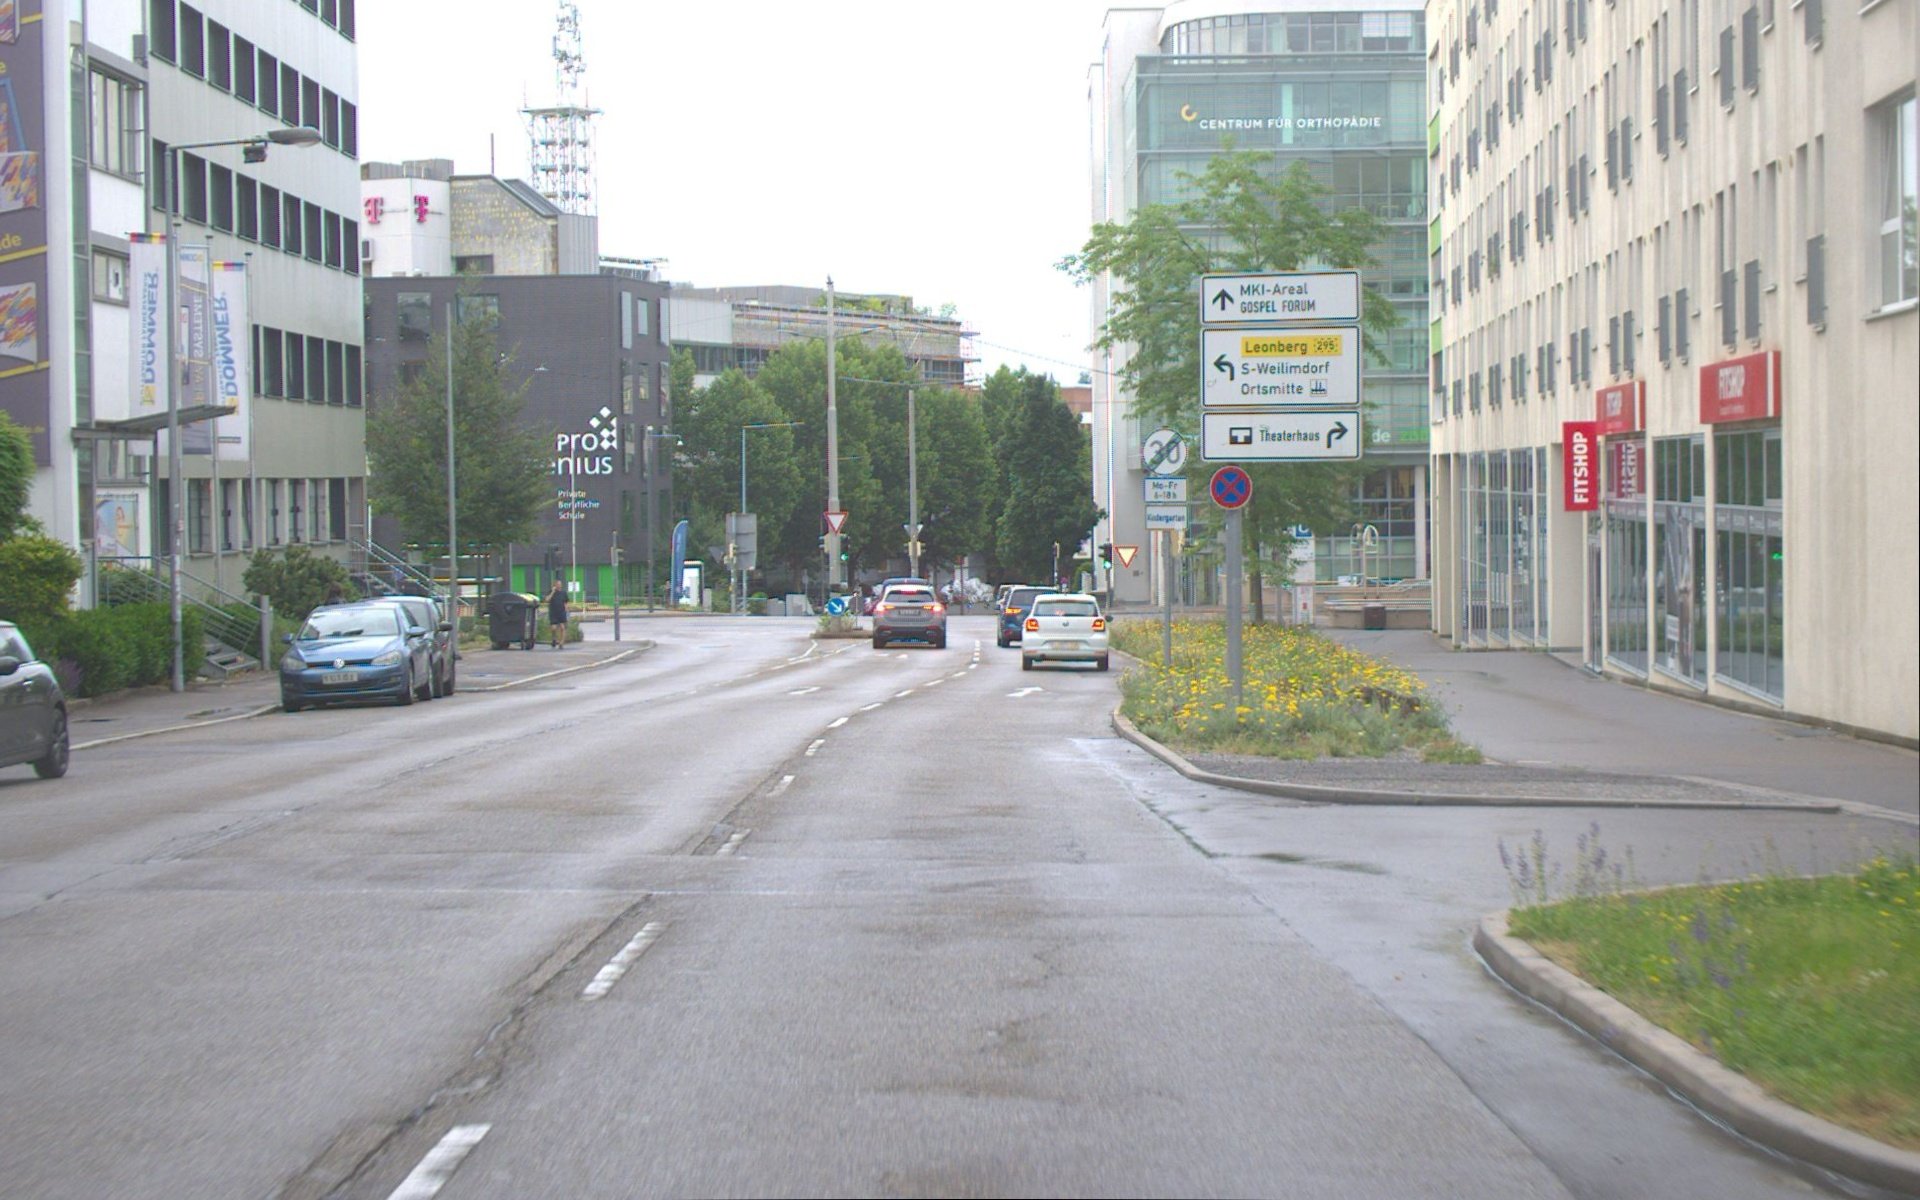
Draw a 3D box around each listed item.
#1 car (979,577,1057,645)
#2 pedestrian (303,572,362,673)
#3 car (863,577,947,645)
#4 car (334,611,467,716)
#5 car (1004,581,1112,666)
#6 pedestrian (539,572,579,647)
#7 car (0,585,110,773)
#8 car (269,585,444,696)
[{"bbox_3d":[1.524,0.283,91.497,1.993,1.744,3.672,0,0,0],"label":"car"},{"bbox_3d":[-10.726,0.394,58.765,0.728,1.703,0.903,0,-2,-27],"label":"pedestrian"},{"bbox_3d":[-1.415,0.317,89.667,2.141,1.722,4.000,0,-1,0],"label":"car"},{"bbox_3d":[-8.537,0.954,52.666,1.563,1.509,3.171,-2,0,-2],"label":"car"},{"bbox_3d":[1.923,0.429,66.311,1.994,1.571,3.996,0,0,3],"label":"car"},{"bbox_3d":[-10.461,0.246,89.700,0.959,1.949,0.779,0,-1,-12],"label":"pedestrian"},{"bbox_3d":[-8.574,0.650,28.738,1.797,1.511,4.245,0,-1,1],"label":"car"},{"bbox_3d":[-8.424,0.575,48.332,1.913,1.476,4.357,0,-1,-3],"label":"car"}]
